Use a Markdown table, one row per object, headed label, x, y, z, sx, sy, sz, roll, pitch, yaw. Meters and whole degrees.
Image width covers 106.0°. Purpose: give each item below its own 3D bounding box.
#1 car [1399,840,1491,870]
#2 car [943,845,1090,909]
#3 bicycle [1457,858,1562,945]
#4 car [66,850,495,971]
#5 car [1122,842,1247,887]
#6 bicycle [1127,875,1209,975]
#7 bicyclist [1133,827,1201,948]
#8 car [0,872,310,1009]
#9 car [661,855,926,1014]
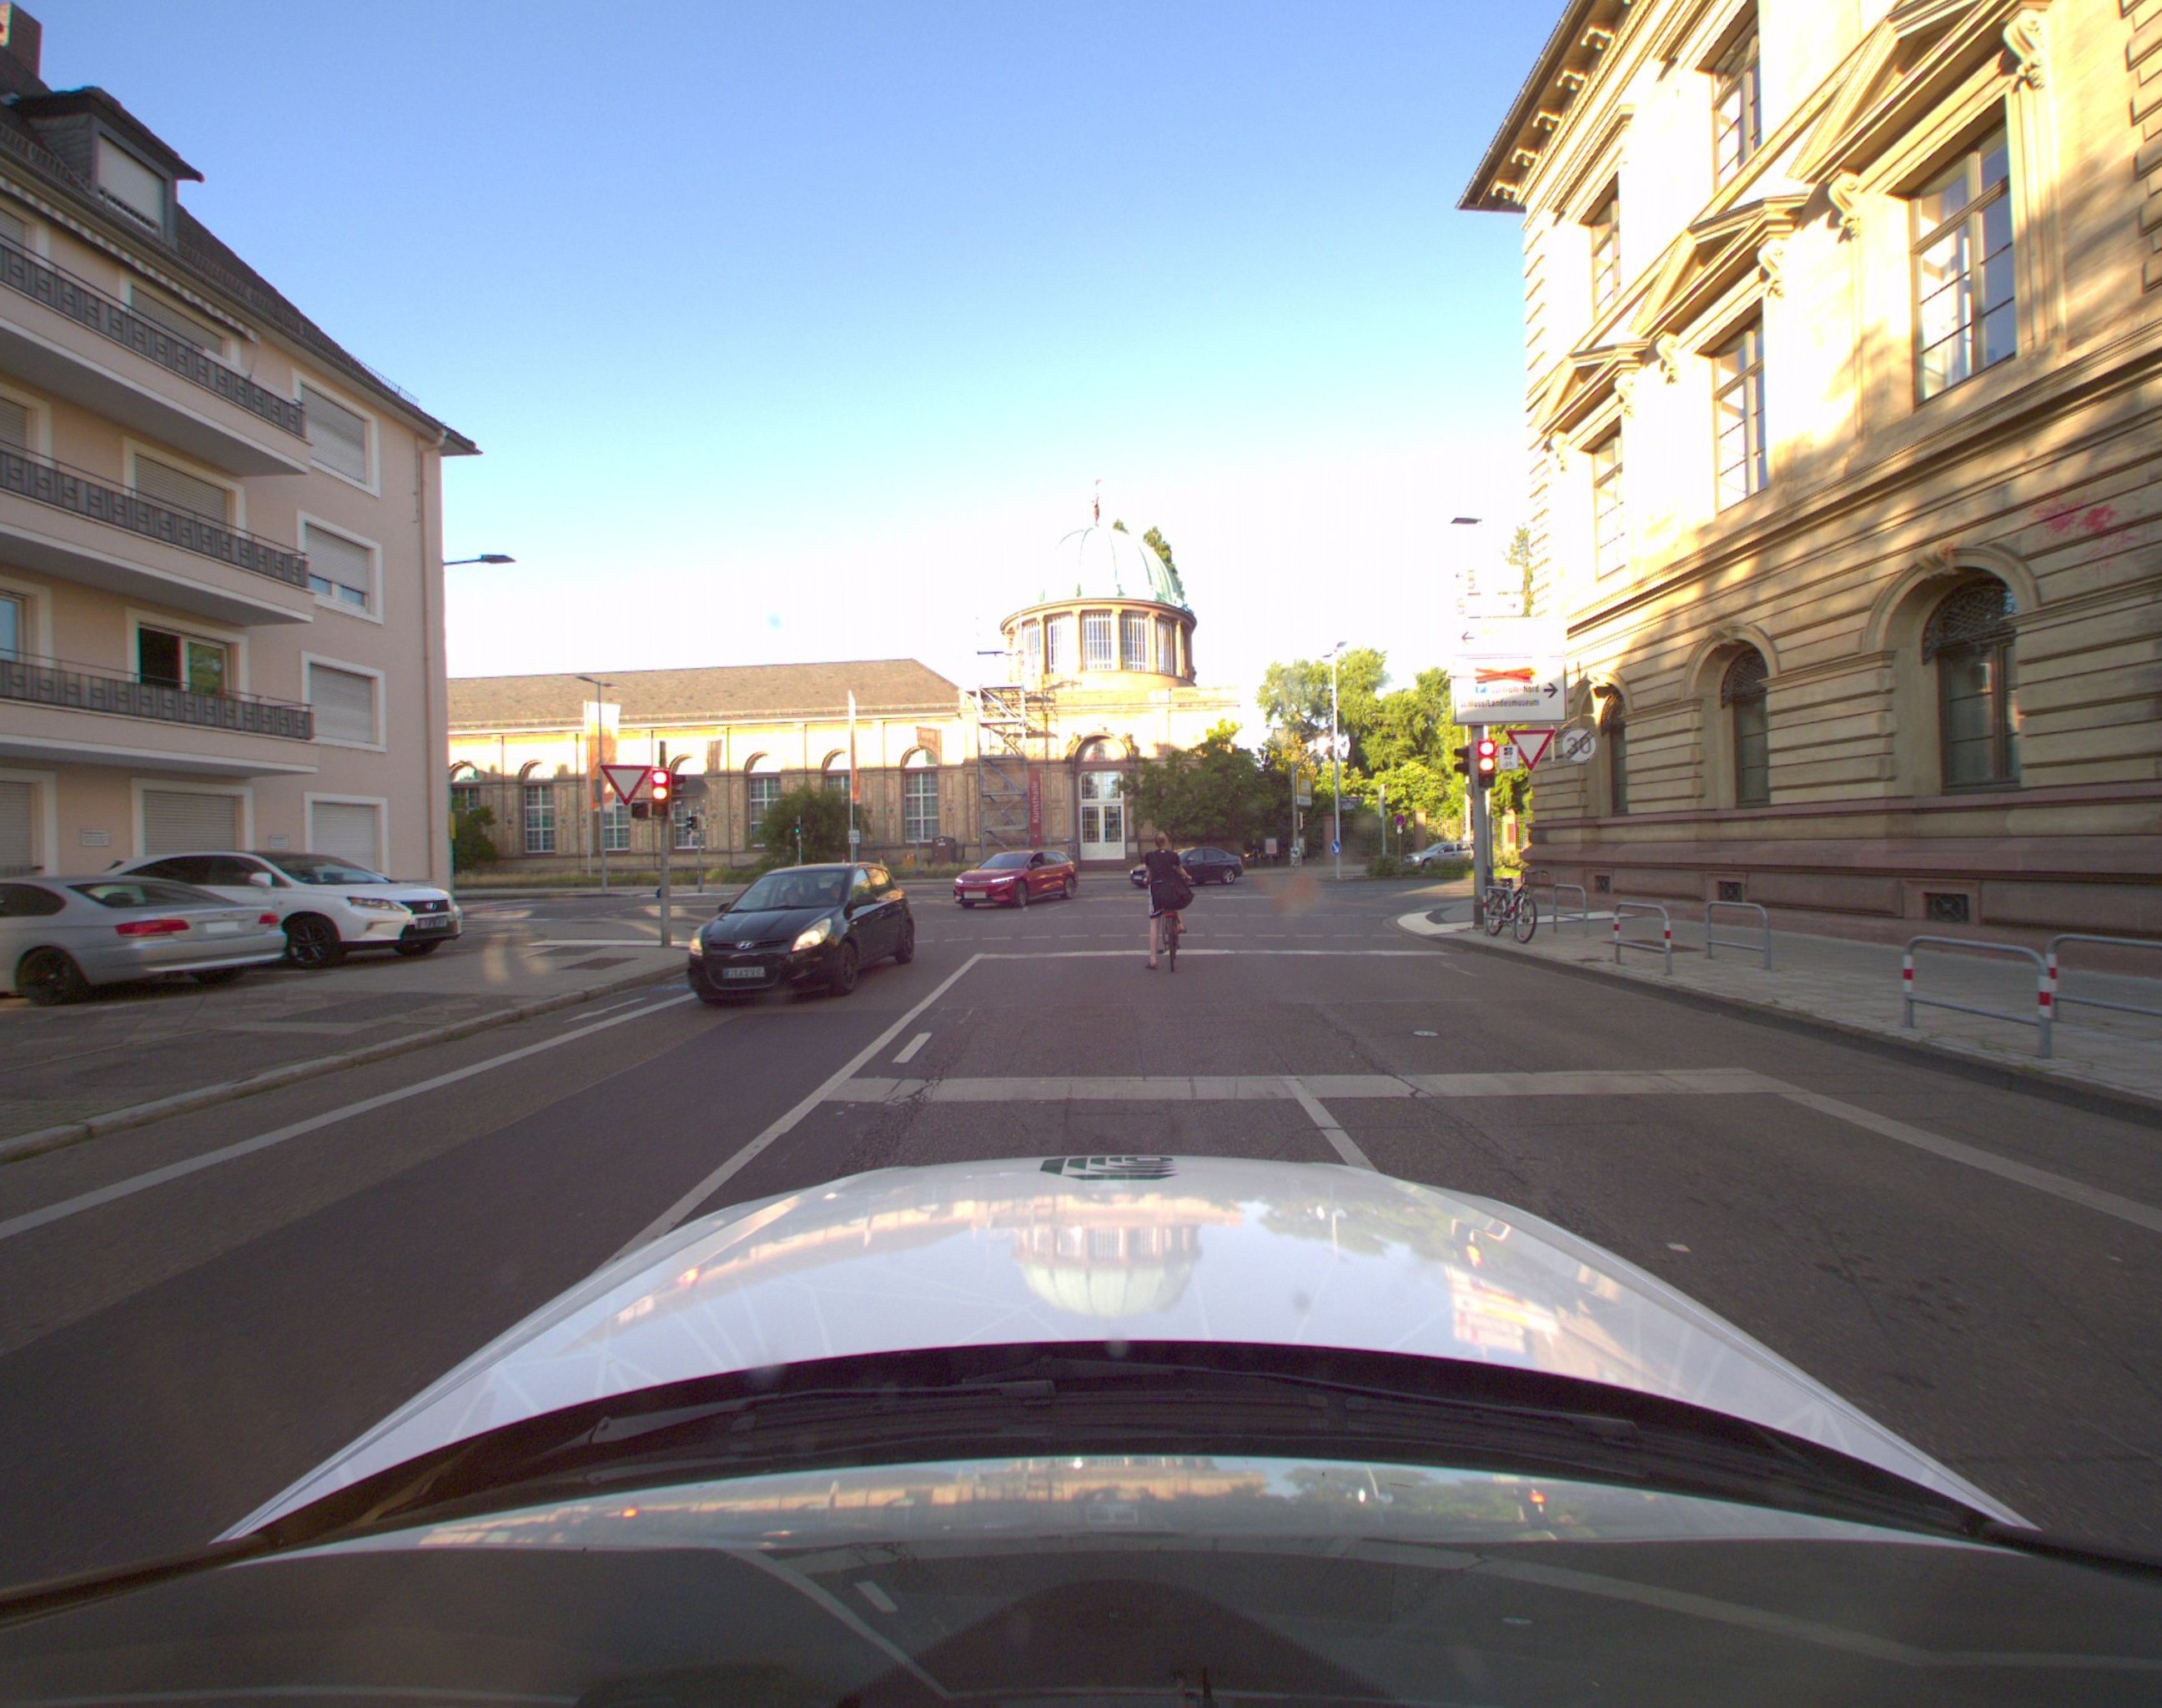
| label | x | y | z | sx | sy | sz | roll | pitch | yaw |
| --- | --- | --- | --- | --- | --- | --- | --- | --- | --- |
| car | 19.391 | 0.062 | 43.487 | 4.176 | 1.445 | 1.713 | -2 | 0 | -4 |
| car | -1.695 | 0.593 | 23.470 | 1.813 | 1.545 | 4.877 | -2 | 1 | 28 |
| bicycle | 6.343 | 0.675 | 12.175 | 0.580 | 1.188 | 1.921 | -1 | -1 | 2 |
| car | -11.687 | 0.779 | 12.155 | 4.426 | 1.641 | 1.942 | 0 | 0 | 0 |
| car | 3.873 | 0.382 | 30.364 | 4.437 | 1.459 | 1.771 | -2 | 0 | -30 |
| bicycle | 1.197 | 0.879 | 10.772 | 0.706 | 1.156 | 2.077 | -2 | -1 | 16 |
| bicyclist | 1.129 | 0.428 | 10.573 | 0.710 | 1.502 | 0.854 | -2 | -2 | 16 |
| car | -11.939 | 0.933 | 9.466 | 4.253 | 1.380 | 1.735 | 0 | 0 | -1 |
| car | -3.305 | 0.831 | 10.234 | 1.650 | 1.471 | 3.859 | -2 | 1 | 4 |
